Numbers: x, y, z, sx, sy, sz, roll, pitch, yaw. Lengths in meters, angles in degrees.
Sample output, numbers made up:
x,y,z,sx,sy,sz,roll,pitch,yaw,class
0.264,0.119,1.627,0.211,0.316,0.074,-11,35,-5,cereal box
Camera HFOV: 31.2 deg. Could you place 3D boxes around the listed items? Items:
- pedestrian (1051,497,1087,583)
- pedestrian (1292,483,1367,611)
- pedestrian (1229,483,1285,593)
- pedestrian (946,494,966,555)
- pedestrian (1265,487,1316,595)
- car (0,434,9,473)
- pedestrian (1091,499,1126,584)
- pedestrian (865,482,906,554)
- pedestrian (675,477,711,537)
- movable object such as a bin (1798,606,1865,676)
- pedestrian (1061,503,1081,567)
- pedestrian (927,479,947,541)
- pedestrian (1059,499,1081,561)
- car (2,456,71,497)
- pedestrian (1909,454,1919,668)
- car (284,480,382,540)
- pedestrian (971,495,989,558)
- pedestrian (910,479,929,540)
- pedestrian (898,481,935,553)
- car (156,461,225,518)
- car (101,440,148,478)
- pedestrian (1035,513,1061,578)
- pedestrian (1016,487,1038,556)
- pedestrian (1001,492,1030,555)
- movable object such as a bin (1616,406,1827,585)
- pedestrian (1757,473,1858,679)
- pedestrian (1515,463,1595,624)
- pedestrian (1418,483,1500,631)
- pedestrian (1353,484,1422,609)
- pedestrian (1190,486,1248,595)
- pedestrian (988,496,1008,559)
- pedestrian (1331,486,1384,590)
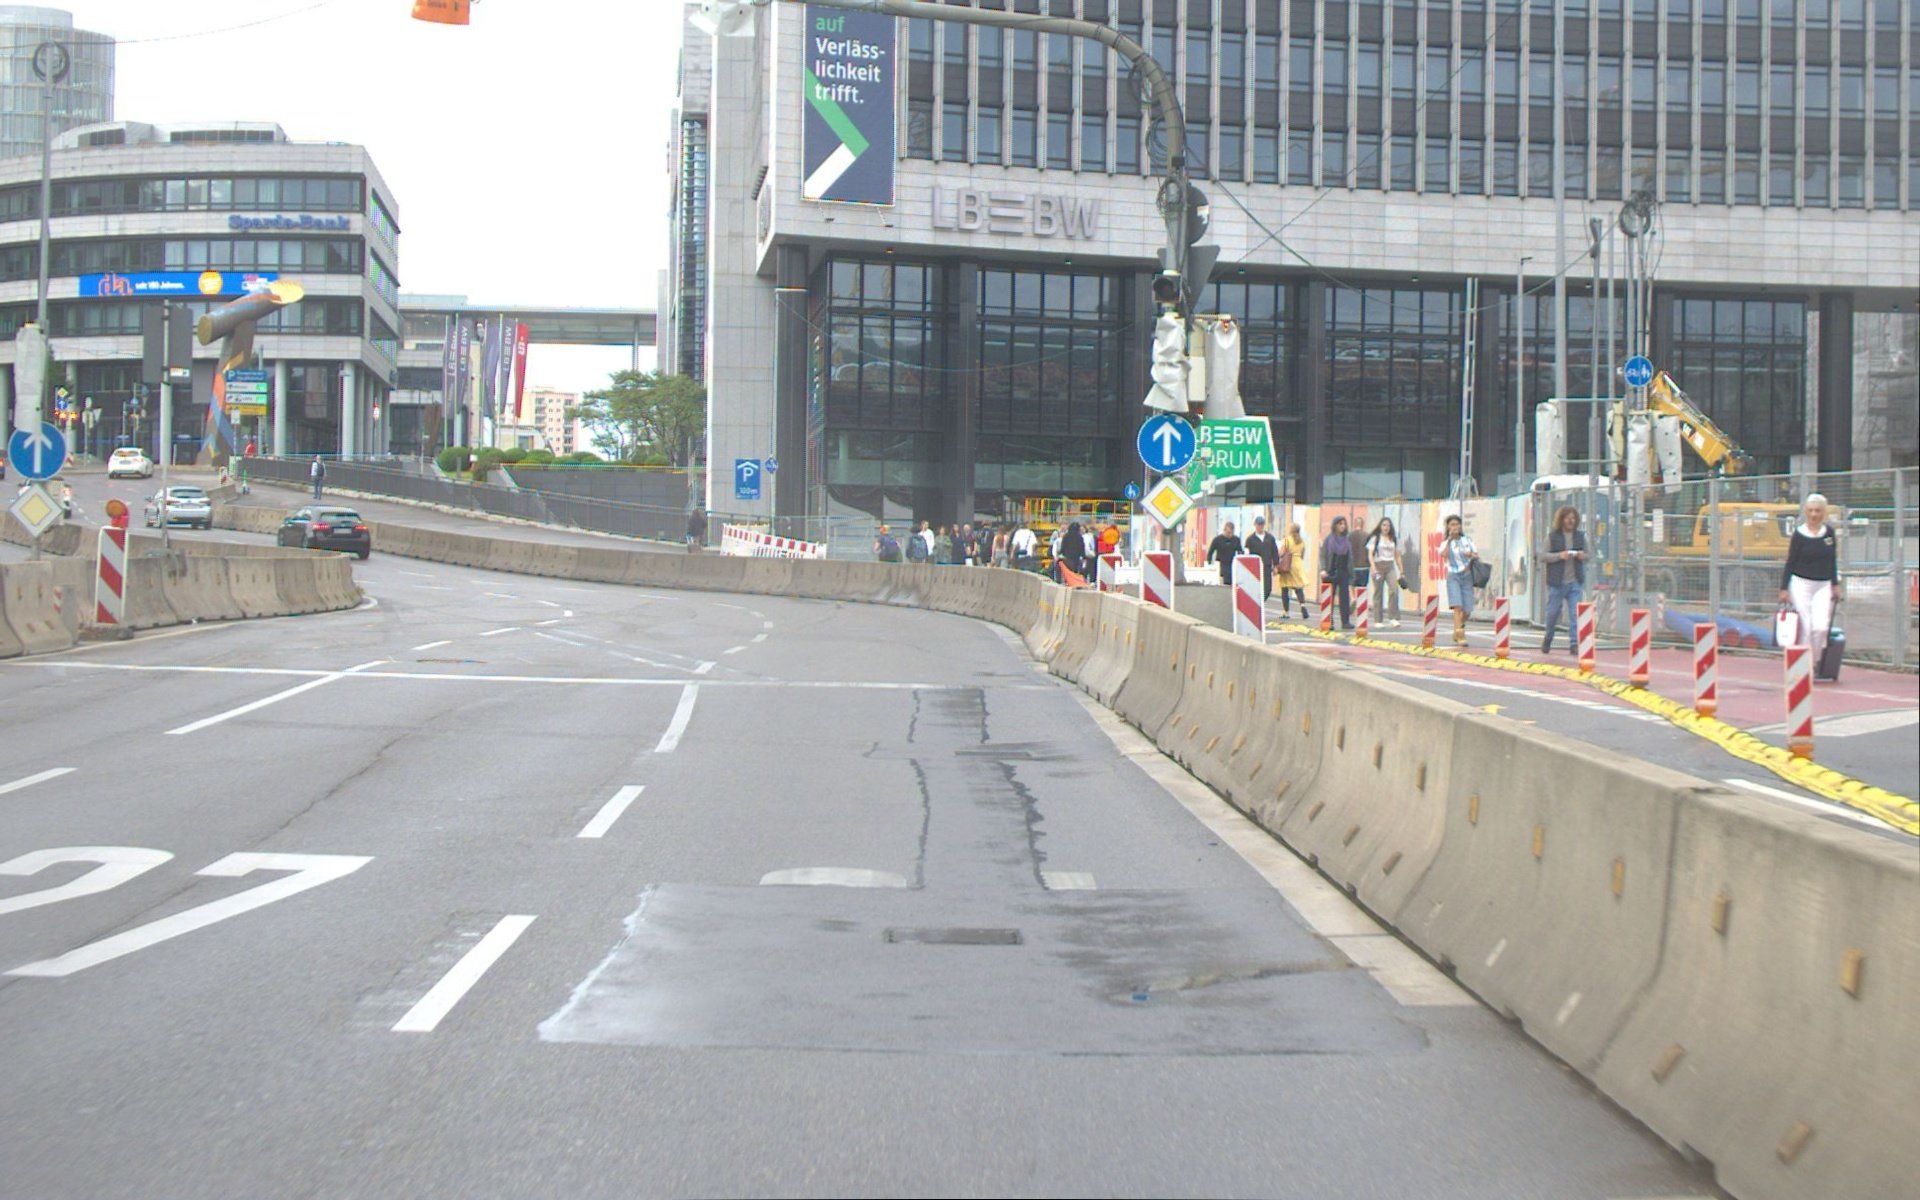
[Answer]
x,y,z,sx,sy,sz,roll,pitch,yaw,class
2.616,-1.443,82.245,0.784,2.006,0.863,1,2,4,pedestrian
5.435,-0.793,50.614,0.869,1.855,0.949,1,2,-6,pedestrian
5.084,-1.072,58.787,0.779,1.855,0.812,1,2,-6,pedestrian
-0.111,-2.130,96.526,0.448,1.699,0.647,1,2,-7,pedestrian
5.735,-1.033,59.684,0.732,1.847,0.831,1,1,-4,pedestrian
-46.129,-6.970,162.957,1.993,1.798,4.267,0,2,-16,car
3.548,-1.402,82.169,0.784,2.006,0.863,1,2,4,pedestrian
-1.710,-1.889,78.917,0.750,1.636,0.824,0,2,-14,pedestrian
-8.111,-2.818,104.311,0.756,1.784,1.057,0,1,-23,pedestrian
8.090,0.375,31.926,0.433,0.622,0.535,1,2,-6,movable object such as a bin
2.976,-1.740,92.534,0.448,1.699,0.647,1,2,-4,pedestrian
-0.649,-2.524,96.354,0.453,1.699,0.647,1,2,-7,pedestrian
3.025,-1.932,94.590,0.500,1.699,0.733,1,2,-4,pedestrian
-34.773,-4.635,129.416,1.741,1.501,3.755,0,2,-28,car
8.742,-0.329,29.732,0.786,1.855,0.683,1,2,-6,pedestrian
-17.321,-2.478,94.896,1.674,1.503,3.746,1,-1,-26,car
0.556,-2.027,94.502,0.448,1.699,0.647,1,2,0,pedestrian
-1.140,-2.544,96.273,0.448,1.699,0.647,1,2,-7,pedestrian
-0.997,-1.904,79.115,0.658,1.636,0.824,0,2,-14,pedestrian
-26.111,-3.760,116.594,1.738,1.869,3.779,0,2,-21,car
-40.668,-6.881,167.318,1.993,1.798,4.267,0,2,-16,car
2.369,-1.471,92.558,0.625,1.699,0.647,1,2,-4,pedestrian
1.774,-2.085,91.186,0.529,1.812,0.536,1,2,-2,pedestrian
1.492,-2.064,92.793,0.511,1.699,0.574,-1,3,-39,pedestrian
17.622,-2.406,79.703,3.086,4.016,3.698,0,1,-25,movable object such as a bin
7.756,-0.229,31.481,0.664,1.855,0.683,1,2,-6,pedestrian
6.988,-0.671,40.377,0.689,1.855,0.812,1,2,-6,pedestrian
6.369,-0.556,43.919,0.779,1.855,0.949,1,2,-6,pedestrian
6.457,-0.810,51.933,0.779,1.855,1.058,1,2,-6,pedestrian
4.369,-1.001,58.026,0.819,1.821,1.111,0,1,-5,pedestrian
1.049,-1.982,94.170,0.448,1.699,0.647,1,2,6,pedestrian
7.153,-1.117,61.846,0.779,1.855,0.812,-1,2,-6,pedestrian
